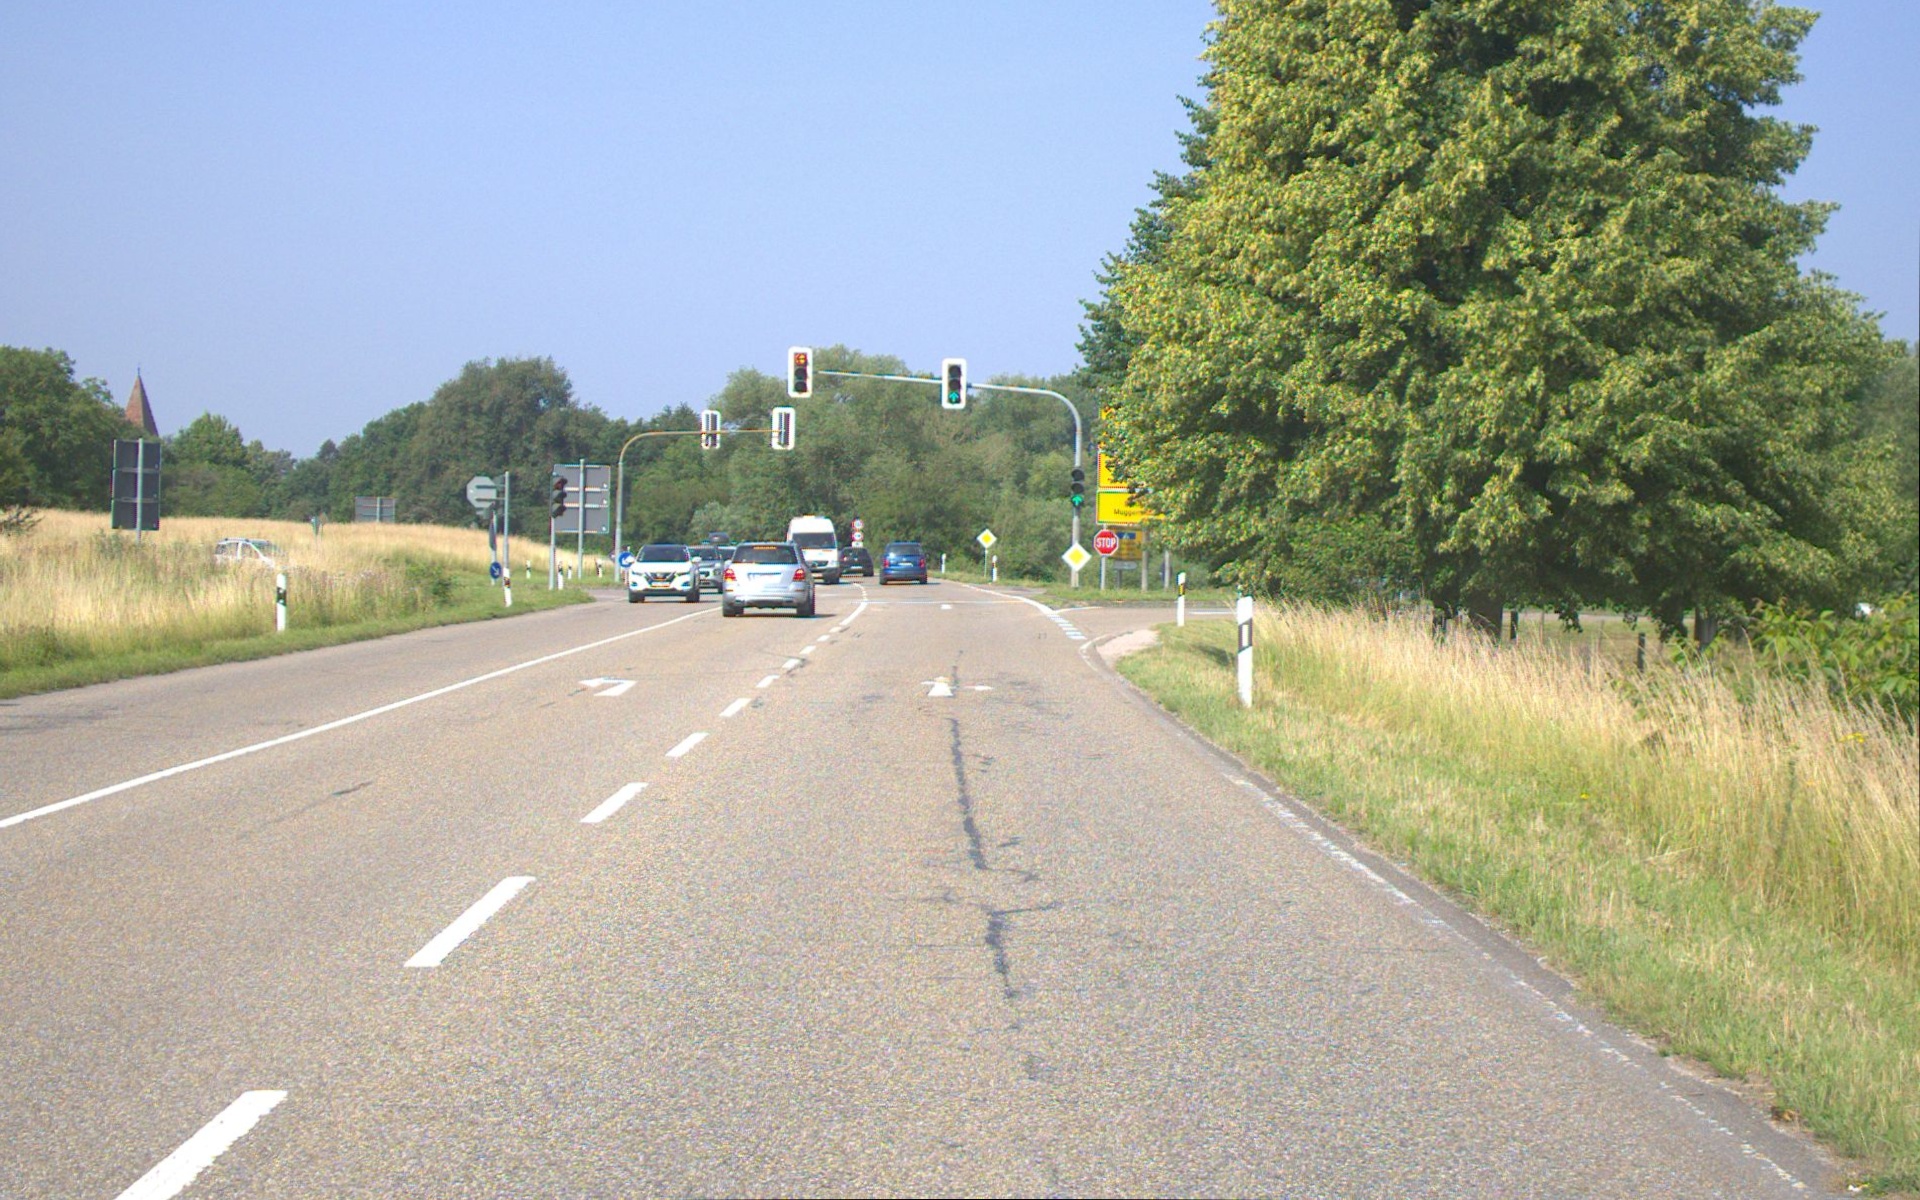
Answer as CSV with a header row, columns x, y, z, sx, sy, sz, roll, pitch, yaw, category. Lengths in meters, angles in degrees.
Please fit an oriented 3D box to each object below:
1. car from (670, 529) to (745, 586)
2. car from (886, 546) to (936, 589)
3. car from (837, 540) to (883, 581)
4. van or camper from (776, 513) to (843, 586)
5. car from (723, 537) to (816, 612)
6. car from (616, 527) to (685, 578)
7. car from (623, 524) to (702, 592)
x,y,z,sx,sy,sz,roll,pitch,yaw,category
-8.286,-1.401,113.199,1.933,1.722,4.000,4,1,2,car
-1.885,-1.267,132.817,1.816,1.515,4.000,4,1,0,car
-4.707,-1.886,162.759,1.993,1.809,4.000,4,1,-1,car
-5.988,-2.037,137.164,2.265,2.700,5.262,4,1,0,van or camper
-4.134,-0.563,74.104,1.899,1.506,4.001,2,1,-4,car
-11.270,-1.730,125.380,1.933,1.722,4.000,4,1,2,car
-8.219,-1.174,95.175,1.592,1.722,4.000,4,1,2,car
